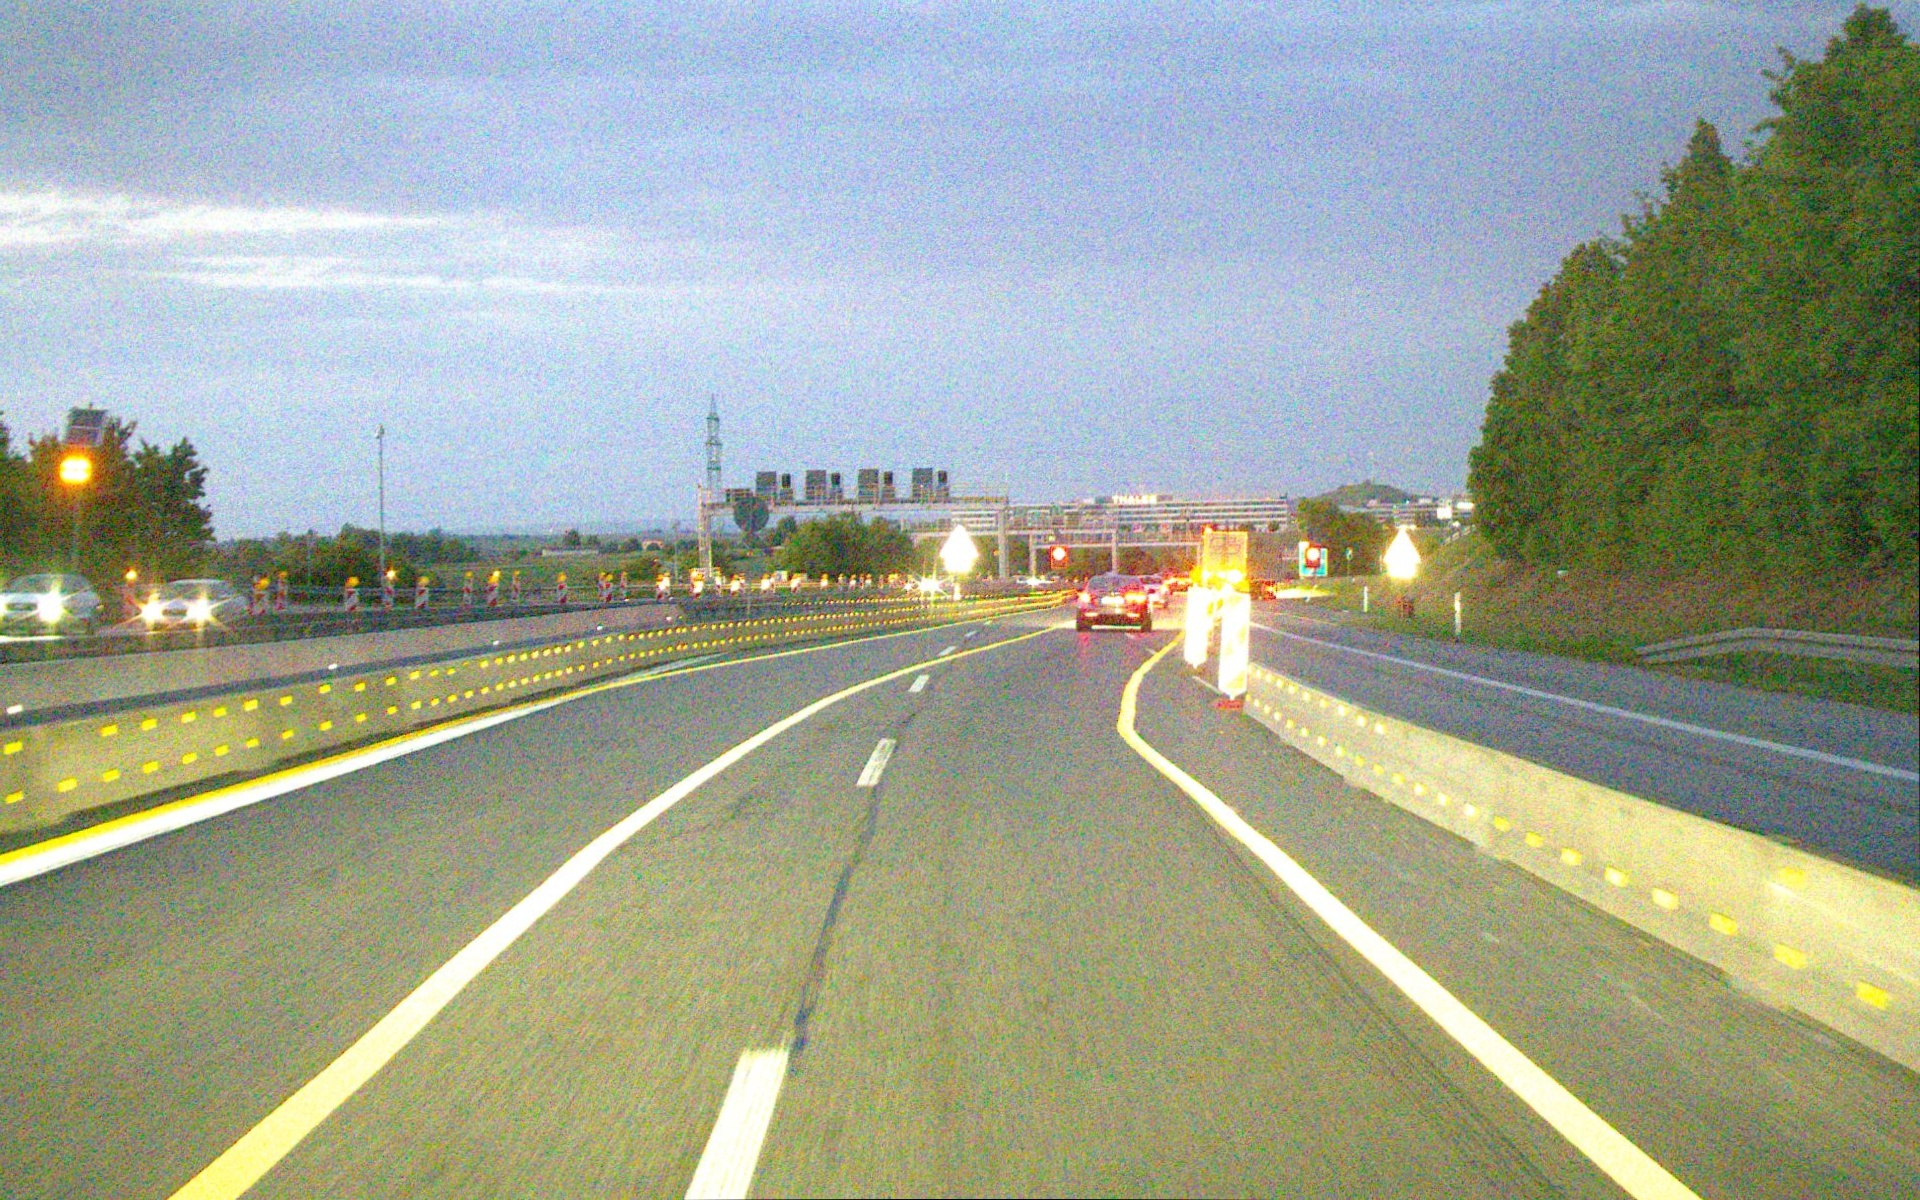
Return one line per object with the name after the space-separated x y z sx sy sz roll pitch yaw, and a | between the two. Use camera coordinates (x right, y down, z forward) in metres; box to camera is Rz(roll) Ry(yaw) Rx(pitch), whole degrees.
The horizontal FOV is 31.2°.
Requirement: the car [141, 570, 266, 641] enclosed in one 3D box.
-18.598 0.125 84.688 1.830 1.655 4.841 1 0 2 | car

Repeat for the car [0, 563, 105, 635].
-22.748 -0.046 85.222 1.907 1.709 3.943 1 0 3 | car

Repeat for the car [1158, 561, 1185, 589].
16.054 -1.889 260.706 1.994 2.007 3.999 1 0 4 | car

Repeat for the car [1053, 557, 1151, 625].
3.566 -0.240 87.078 2.265 1.616 4.000 1 0 0 | car

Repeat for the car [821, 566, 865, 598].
-6.472 -0.988 189.855 1.994 1.708 3.999 1 0 4 | car

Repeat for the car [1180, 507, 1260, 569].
14.955 -3.543 198.539 3.605 3.384 8.015 1 0 -3 | car

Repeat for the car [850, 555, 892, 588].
-5.097 -1.623 197.036 1.994 1.821 3.999 1 0 4 | car
